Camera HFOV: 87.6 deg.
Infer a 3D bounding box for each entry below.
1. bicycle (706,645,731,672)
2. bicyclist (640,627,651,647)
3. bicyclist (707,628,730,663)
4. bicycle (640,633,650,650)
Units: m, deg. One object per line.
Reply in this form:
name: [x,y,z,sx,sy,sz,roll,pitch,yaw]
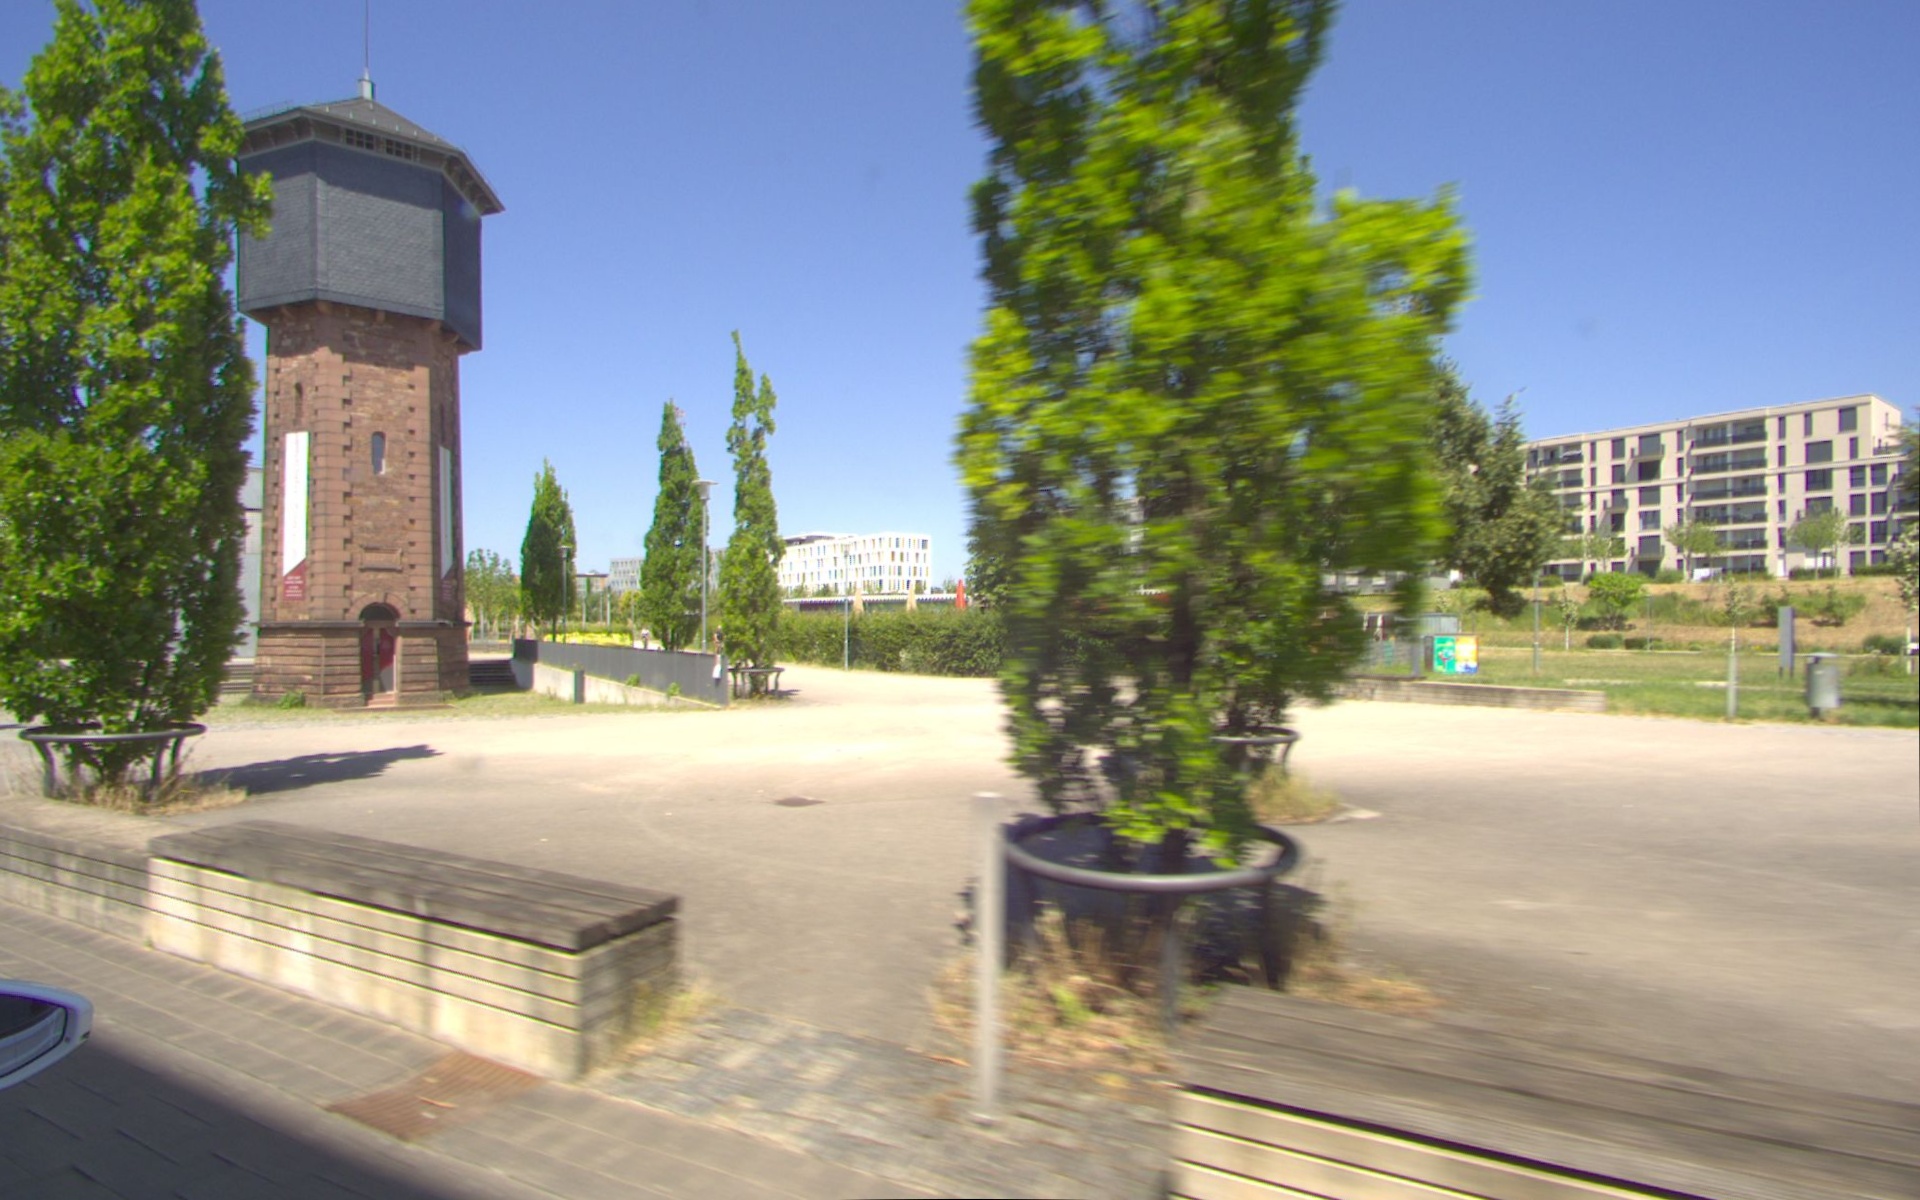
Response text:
bicycle: [-10.485,2.523,43.464,0.786,1.132,1.910,0,-2,-22]
bicyclist: [-23.127,2.711,73.541,0.721,1.453,0.659,0,-1,-22]
bicyclist: [-10.482,1.966,43.481,0.845,1.474,0.880,0,-1,-22]
bicycle: [-23.098,3.032,73.505,0.581,1.214,1.937,0,-2,-21]
